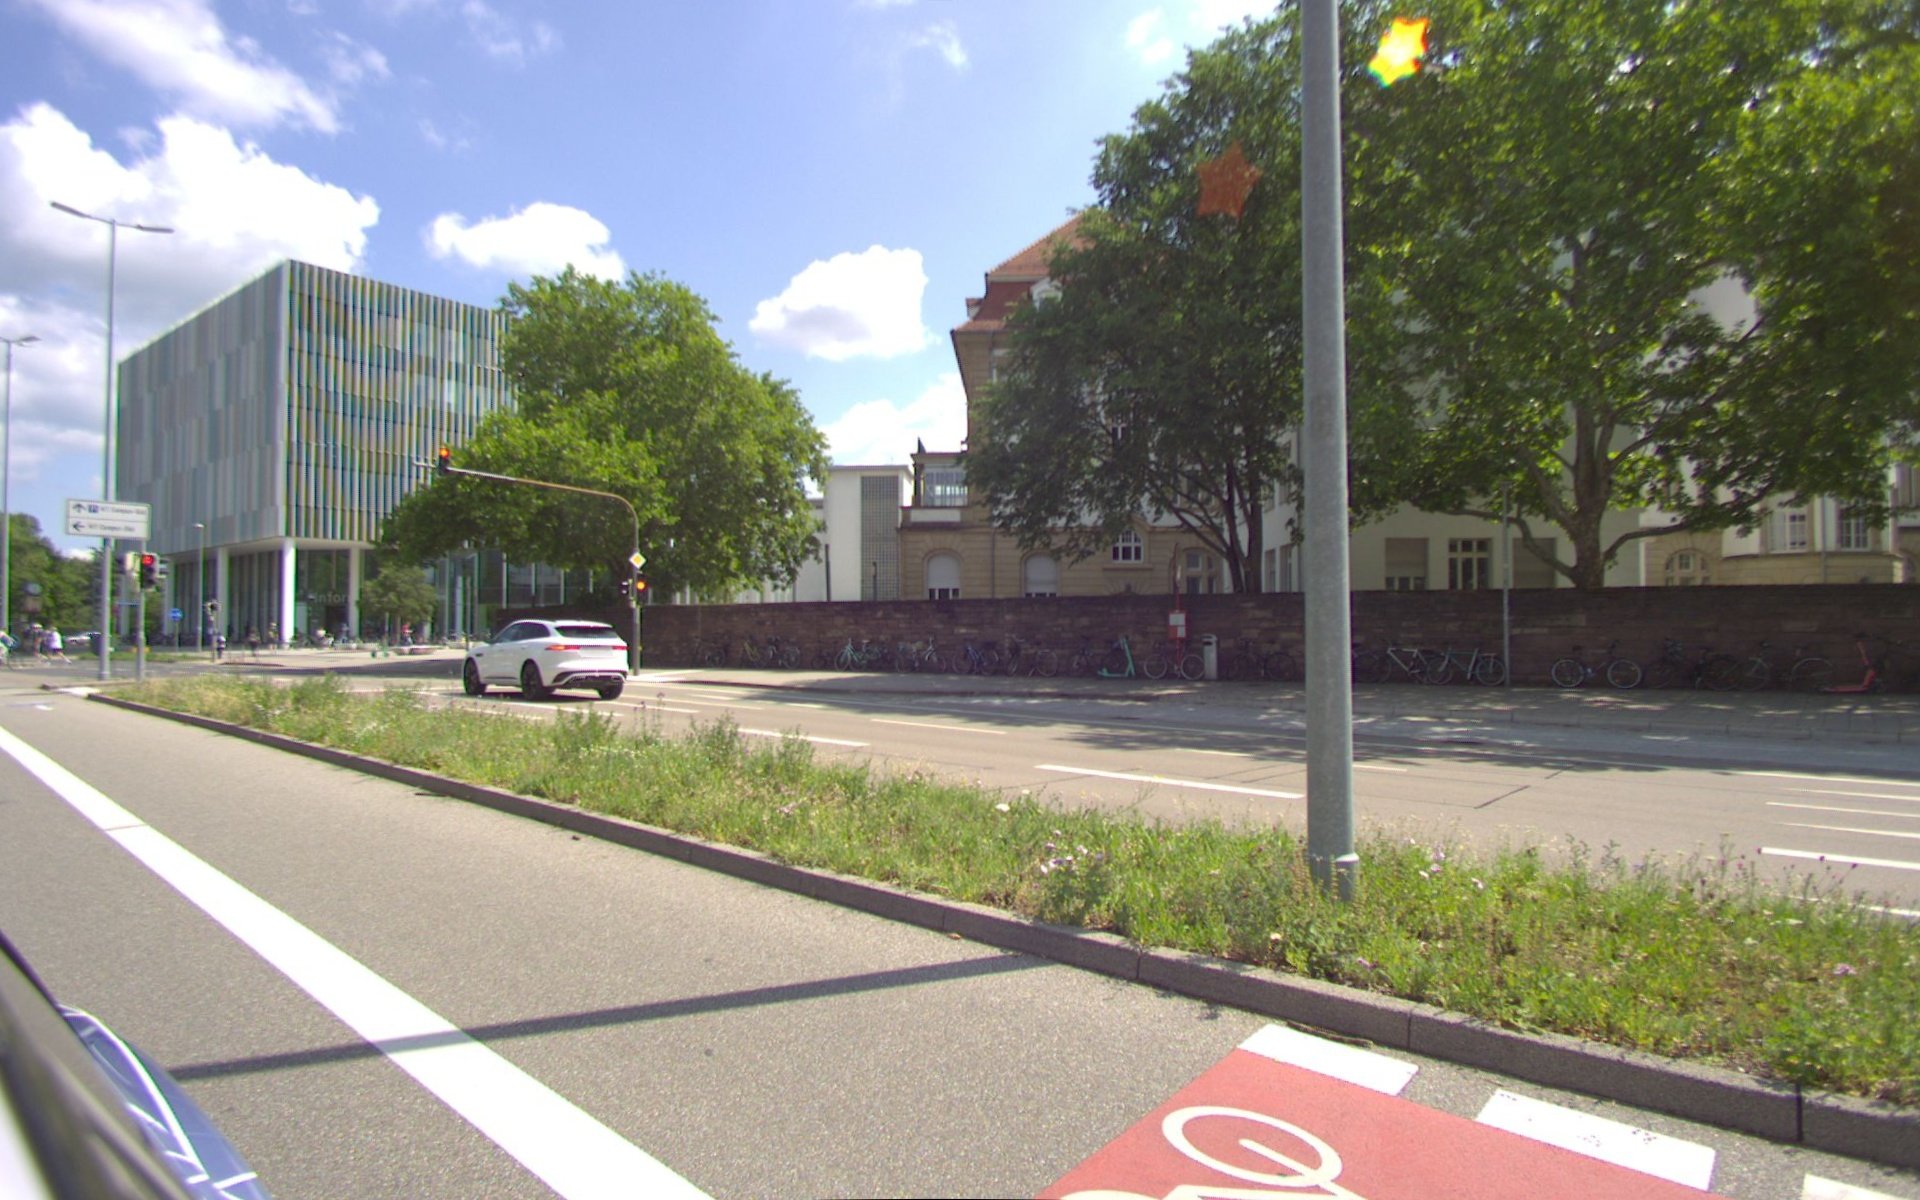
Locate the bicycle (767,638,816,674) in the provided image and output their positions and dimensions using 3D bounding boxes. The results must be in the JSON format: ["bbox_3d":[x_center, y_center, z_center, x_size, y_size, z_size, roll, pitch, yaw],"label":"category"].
[{"bbox_3d":[-5.599,1.856,33.614,1.589,1.161,0.616,-2,-2,33],"label":"bicycle"}]

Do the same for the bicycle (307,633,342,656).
[{"bbox_3d":[-45.766,3.197,72.957,0.797,1.656,3.420,0,-2,-8],"label":"bicycle"}]

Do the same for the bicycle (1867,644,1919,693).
[{"bbox_3d":[18.622,1.314,19.457,1.658,0.909,0.540,-1,-2,29],"label":"bicycle"}]

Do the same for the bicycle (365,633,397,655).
[{"bbox_3d":[-41.946,3.168,73.382,1.034,1.564,3.423,0,-2,-13],"label":"bicycle"}]

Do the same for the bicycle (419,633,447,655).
[{"bbox_3d":[-38.204,3.187,73.414,0.983,1.564,3.423,0,-2,-13],"label":"bicycle"}]

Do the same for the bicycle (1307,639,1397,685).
[{"bbox_3d":[9.393,1.478,24.284,1.941,1.055,0.540,-1,-2,29],"label":"bicycle"}]

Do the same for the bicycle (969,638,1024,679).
[{"bbox_3d":[1.048,1.699,29.322,1.587,1.161,0.398,-2,-2,30],"label":"bicycle"}]

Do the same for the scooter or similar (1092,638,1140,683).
[{"bbox_3d":[4.106,1.578,26.605,1.184,1.161,0.430,-1,-2,20],"label":"scooter or similar"}]

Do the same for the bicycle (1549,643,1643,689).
[{"bbox_3d":[13.623,1.398,21.728,1.658,0.956,0.540,-1,-2,29],"label":"bicycle"}]

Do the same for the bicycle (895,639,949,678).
[{"bbox_3d":[-1.136,1.751,30.420,1.576,1.161,0.401,-1,-2,8],"label":"bicycle"}]

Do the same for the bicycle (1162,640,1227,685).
[{"bbox_3d":[6.075,1.616,26.270,1.587,1.151,0.429,-1,-2,29],"label":"bicycle"}]

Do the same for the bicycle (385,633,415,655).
[{"bbox_3d":[-40.589,3.174,73.382,0.983,1.564,3.423,0,-2,-13],"label":"bicycle"}]

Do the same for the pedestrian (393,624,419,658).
[{"bbox_3d":[-32.706,2.402,59.763,1.093,1.940,0.973,1,-2,-44],"label":"pedestrian"}]

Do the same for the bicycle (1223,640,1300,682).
[{"bbox_3d":[7.554,1.524,25.387,1.795,1.016,0.476,-1,-2,32],"label":"bicycle"}]

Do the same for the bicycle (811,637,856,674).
[{"bbox_3d":[-4.095,1.792,32.762,1.591,1.161,0.408,-2,-2,36],"label":"bicycle"}]

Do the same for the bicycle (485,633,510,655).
[{"bbox_3d":[-33.555,3.184,73.452,0.983,1.564,3.423,0,-2,-13],"label":"bicycle"}]

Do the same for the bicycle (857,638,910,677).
[{"bbox_3d":[-2.337,1.762,31.096,1.576,1.161,0.401,-1,-2,8],"label":"bicycle"}]

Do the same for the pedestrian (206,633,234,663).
[{"bbox_3d":[-41.548,2.702,56.814,0.875,1.641,0.962,-1,-2,28],"label":"pedestrian"}]

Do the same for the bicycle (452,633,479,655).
[{"bbox_3d":[-35.768,3.192,73.277,0.983,1.564,3.423,0,-2,-13],"label":"bicycle"}]

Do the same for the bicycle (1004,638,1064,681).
[{"bbox_3d":[2.054,1.646,28.138,1.582,1.161,0.530,-1,-2,20],"label":"bicycle"}]

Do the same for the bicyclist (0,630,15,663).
[{"bbox_3d":[-36.594,1.768,38.449,0.609,1.235,0.834,0,-2,-3],"label":"bicyclist"}]

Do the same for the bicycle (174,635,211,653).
[{"bbox_3d":[-66.998,3.838,88.366,0.621,1.506,2.479,-2,-2,41],"label":"bicycle"}]

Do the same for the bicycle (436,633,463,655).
[{"bbox_3d":[-36.878,3.185,73.149,0.983,1.564,3.423,0,-2,-13],"label":"bicycle"}]

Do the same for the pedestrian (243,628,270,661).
[{"bbox_3d":[-40.861,2.577,58.793,0.957,1.940,0.880,0,-2,-5],"label":"pedestrian"}]

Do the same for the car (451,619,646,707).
[{"bbox_3d":[-8.933,1.296,21.787,4.774,1.680,2.048,-2,-3,42],"label":"car"}]

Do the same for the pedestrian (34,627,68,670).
[{"bbox_3d":[-41.867,2.233,46.628,1.092,1.940,0.973,1,-2,-41],"label":"pedestrian"}]

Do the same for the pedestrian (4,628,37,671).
[{"bbox_3d":[-43.374,2.275,46.745,1.092,1.940,0.973,1,-2,-43],"label":"pedestrian"}]

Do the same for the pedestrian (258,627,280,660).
[{"bbox_3d":[-41.638,2.619,60.999,0.955,1.940,0.882,0,-2,-23],"label":"pedestrian"}]

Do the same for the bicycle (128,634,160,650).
[{"bbox_3d":[-77.642,3.976,96.329,0.621,1.506,2.300,-2,-2,41],"label":"bicycle"}]

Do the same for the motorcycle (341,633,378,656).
[{"bbox_3d":[-43.388,3.187,73.166,0.957,1.652,3.301,0,-2,-5],"label":"motorcycle"}]

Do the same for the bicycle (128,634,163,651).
[{"bbox_3d":[-76.187,3.945,94.672,0.621,1.506,2.479,-2,-2,41],"label":"bicycle"}]

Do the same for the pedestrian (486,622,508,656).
[{"bbox_3d":[-27.210,2.285,59.490,1.090,1.940,0.975,0,-2,-19],"label":"pedestrian"}]

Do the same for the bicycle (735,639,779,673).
[{"bbox_3d":[-6.960,1.909,34.637,1.589,1.161,0.495,-2,-2,33],"label":"bicycle"}]

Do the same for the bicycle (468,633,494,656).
[{"bbox_3d":[-34.658,3.196,73.231,0.983,1.564,3.423,0,-2,-13],"label":"bicycle"}]

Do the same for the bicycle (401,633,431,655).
[{"bbox_3d":[-39.428,3.179,73.394,0.983,1.564,3.423,0,-2,-13],"label":"bicycle"}]

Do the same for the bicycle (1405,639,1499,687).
[{"bbox_3d":[11.240,1.435,23.133,1.887,1.055,0.540,-1,-2,29],"label":"bicycle"}]

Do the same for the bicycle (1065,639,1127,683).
[{"bbox_3d":[3.676,1.635,27.365,1.582,1.161,0.530,-1,-2,20],"label":"bicycle"}]

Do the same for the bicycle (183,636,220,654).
[{"bbox_3d":[-64.386,3.792,85.913,2.473,1.506,0.731,1,-2,-39],"label":"bicycle"}]

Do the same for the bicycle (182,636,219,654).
[{"bbox_3d":[-63.807,3.776,85.040,0.621,1.506,2.420,-2,-2,41],"label":"bicycle"}]

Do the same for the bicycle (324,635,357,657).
[{"bbox_3d":[-44.722,3.287,73.054,0.919,1.505,2.690,0,-1,-4],"label":"bicycle"}]

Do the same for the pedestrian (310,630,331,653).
[{"bbox_3d":[-48.233,3.141,76.306,0.997,1.720,1.214,0,-2,-15],"label":"pedestrian"}]

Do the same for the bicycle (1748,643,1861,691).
[{"bbox_3d":[16.929,1.331,20.330,1.658,0.909,0.540,-1,-2,29],"label":"bicycle"}]

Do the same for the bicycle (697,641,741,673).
[{"bbox_3d":[-8.477,1.985,35.580,1.589,1.107,0.567,-2,-2,33],"label":"bicycle"}]

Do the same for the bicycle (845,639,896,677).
[{"bbox_3d":[-2.807,1.805,31.752,1.581,1.161,0.400,-1,-2,18],"label":"bicycle"}]

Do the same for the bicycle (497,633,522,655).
[{"bbox_3d":[-32.225,3.147,72.460,0.983,1.564,3.423,0,-2,-13],"label":"bicycle"}]

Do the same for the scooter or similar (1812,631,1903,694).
[{"bbox_3d":[17.210,1.194,19.433,1.184,1.192,0.430,-1,-2,20],"label":"scooter or similar"}]

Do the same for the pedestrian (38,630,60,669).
[{"bbox_3d":[-42.554,2.308,47.268,0.688,1.840,0.637,-2,-3,41],"label":"pedestrian"}]

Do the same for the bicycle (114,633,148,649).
[{"bbox_3d":[-80.429,4.007,98.182,0.621,1.506,2.479,-2,-2,41],"label":"bicycle"}]

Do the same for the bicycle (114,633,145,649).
[{"bbox_3d":[-81.342,4.024,99.093,0.656,1.506,2.273,-2,-2,41],"label":"bicycle"}]

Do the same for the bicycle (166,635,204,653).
[{"bbox_3d":[-66.790,3.813,87.219,0.621,1.506,2.479,-2,-2,41],"label":"bicycle"}]

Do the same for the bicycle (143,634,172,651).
[{"bbox_3d":[-73.981,3.922,93.314,0.621,1.506,2.044,-2,-2,41],"label":"bicycle"}]

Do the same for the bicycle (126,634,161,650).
[{"bbox_3d":[-76.971,3.959,95.468,0.621,1.506,2.479,-2,-2,41],"label":"bicycle"}]

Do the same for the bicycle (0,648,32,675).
[{"bbox_3d":[-36.597,2.344,38.465,0.638,1.006,2.163,0,-2,0],"label":"bicycle"}]
